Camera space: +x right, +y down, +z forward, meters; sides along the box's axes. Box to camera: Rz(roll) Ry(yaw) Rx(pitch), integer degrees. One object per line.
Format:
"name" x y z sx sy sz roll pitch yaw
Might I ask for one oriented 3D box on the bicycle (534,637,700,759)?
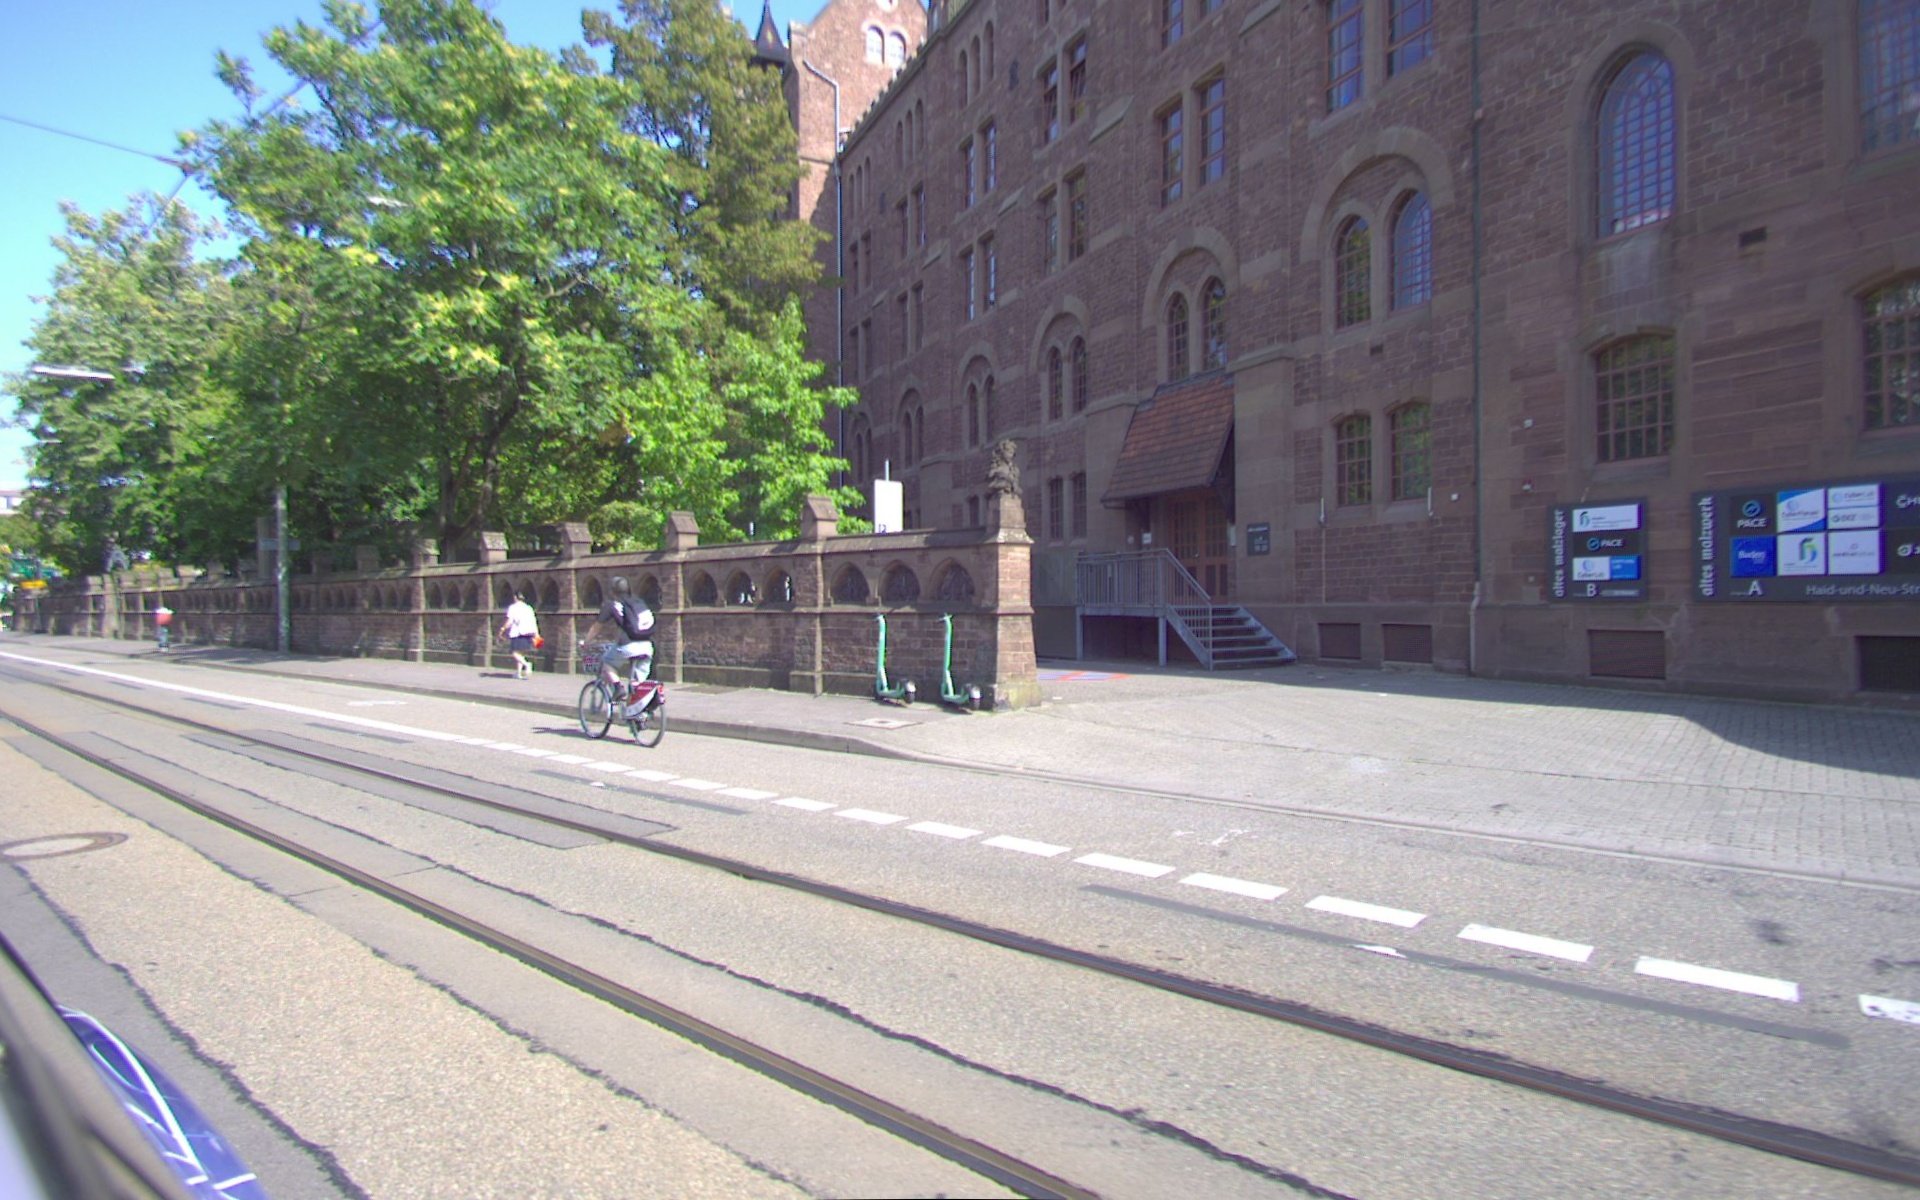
"bicycle" -3.754 1.013 10.997 2.035 1.167 0.690 0 -1 38

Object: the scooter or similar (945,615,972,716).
"scooter or similar" -0.014 0.789 12.475 0.280 1.157 0.816 0 2 4

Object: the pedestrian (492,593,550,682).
"pedestrian" -8.102 0.677 18.681 0.774 1.601 0.708 0 0 39

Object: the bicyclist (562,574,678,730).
"bicyclist" -3.686 0.542 10.974 1.086 1.592 0.690 0 -2 38

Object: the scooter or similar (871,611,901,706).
"scooter or similar" -0.961 0.751 13.267 0.280 1.157 0.816 0 2 4
